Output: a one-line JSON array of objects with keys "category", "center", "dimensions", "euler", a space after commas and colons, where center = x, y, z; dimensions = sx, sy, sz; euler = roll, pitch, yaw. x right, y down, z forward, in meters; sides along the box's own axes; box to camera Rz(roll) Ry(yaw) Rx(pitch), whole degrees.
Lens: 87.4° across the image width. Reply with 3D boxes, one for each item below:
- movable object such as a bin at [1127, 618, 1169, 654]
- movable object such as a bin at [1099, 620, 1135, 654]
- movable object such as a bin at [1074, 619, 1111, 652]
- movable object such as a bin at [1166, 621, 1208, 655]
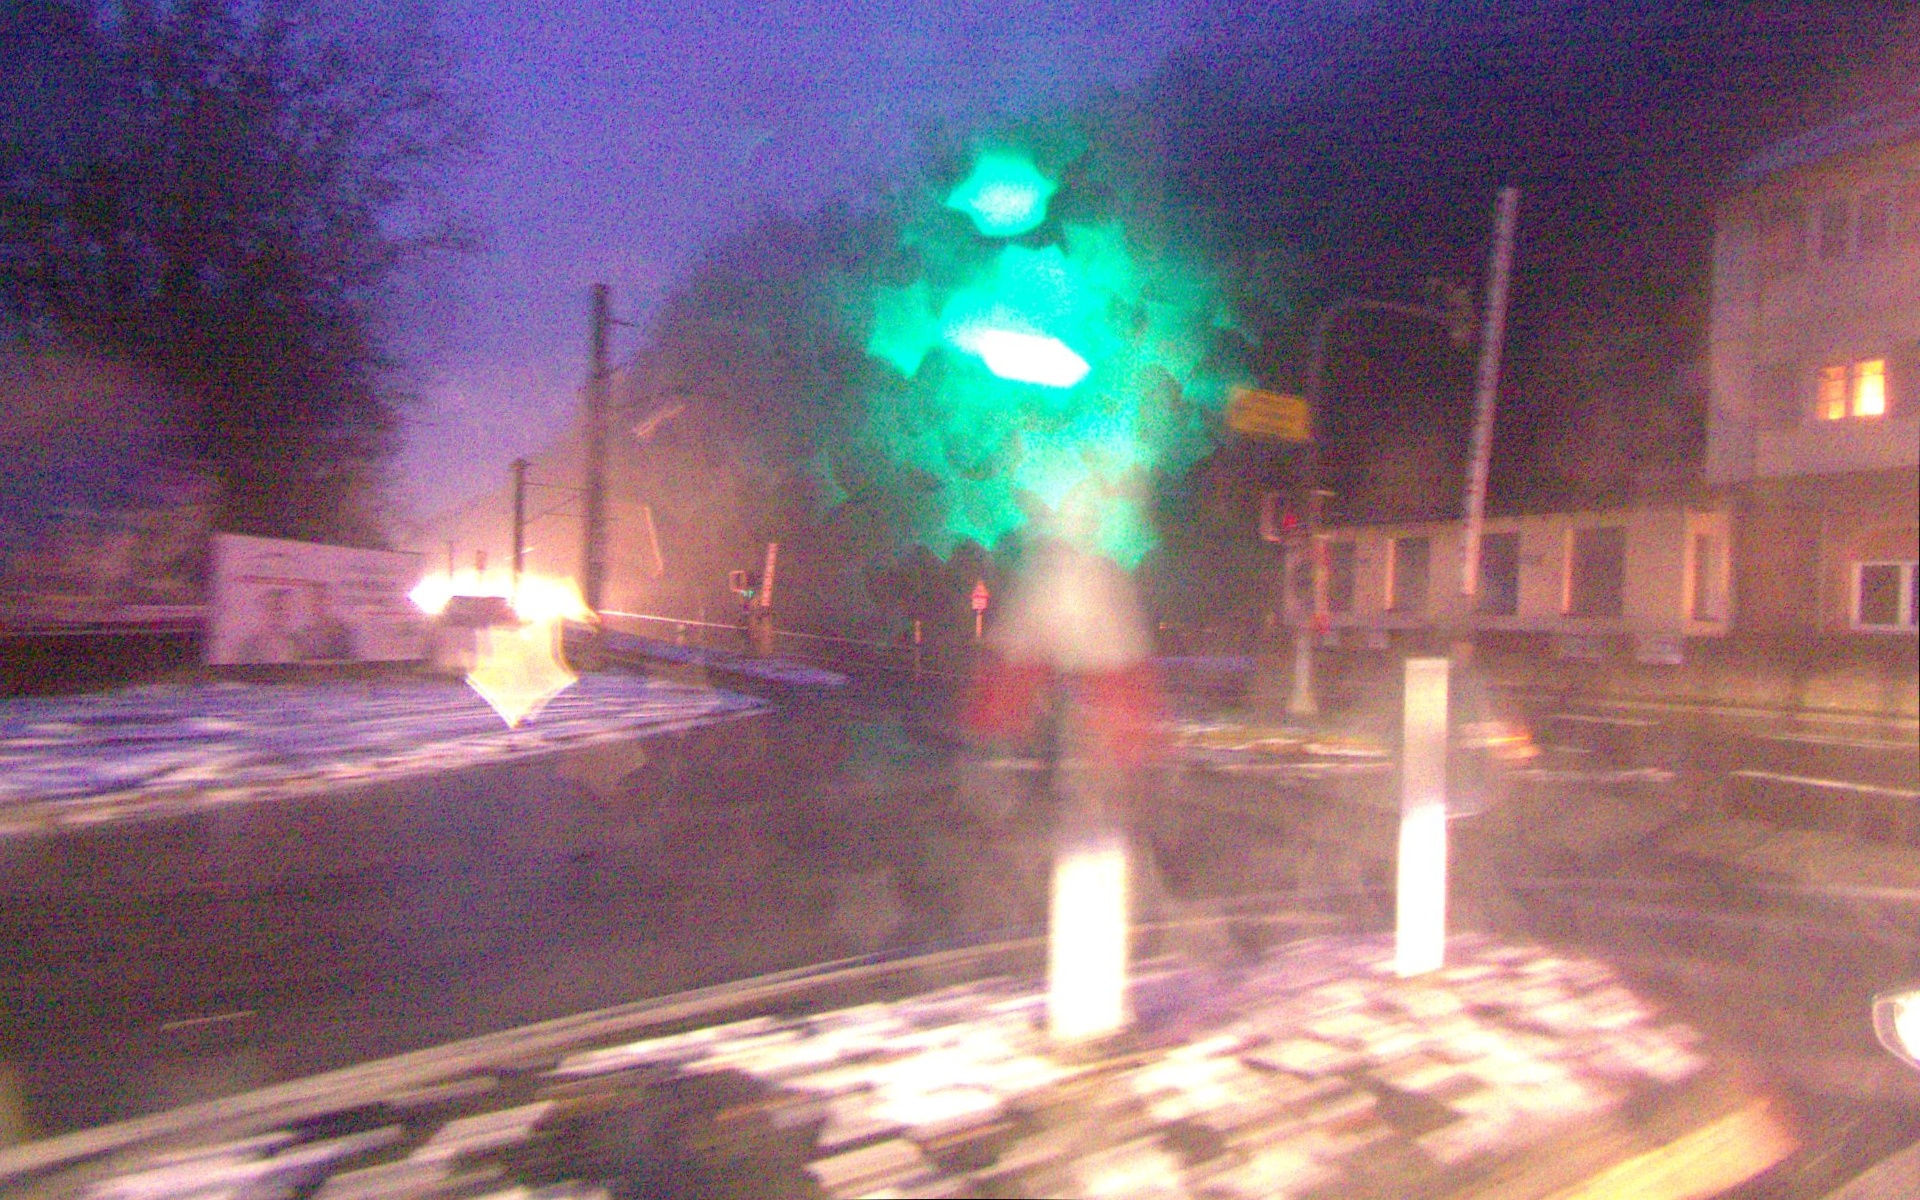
[{"category": "movable object such as a bin", "center": [7.767, 1.476, 41.505], "dimensions": [1.367, 1.432, 1.248], "euler": [0, -1, 32]}, {"category": "movable object such as a bin", "center": [6.600, 1.540, 42.265], "dimensions": [1.209, 1.343, 1.152], "euler": [1, 0, 26]}, {"category": "movable object such as a bin", "center": [5.690, 1.515, 43.104], "dimensions": [1.297, 1.326, 1.175], "euler": [0, 1, 24]}, {"category": "movable object such as a bin", "center": [9.221, 1.548, 40.762], "dimensions": [1.295, 1.316, 1.248], "euler": [2, -1, 32]}]
